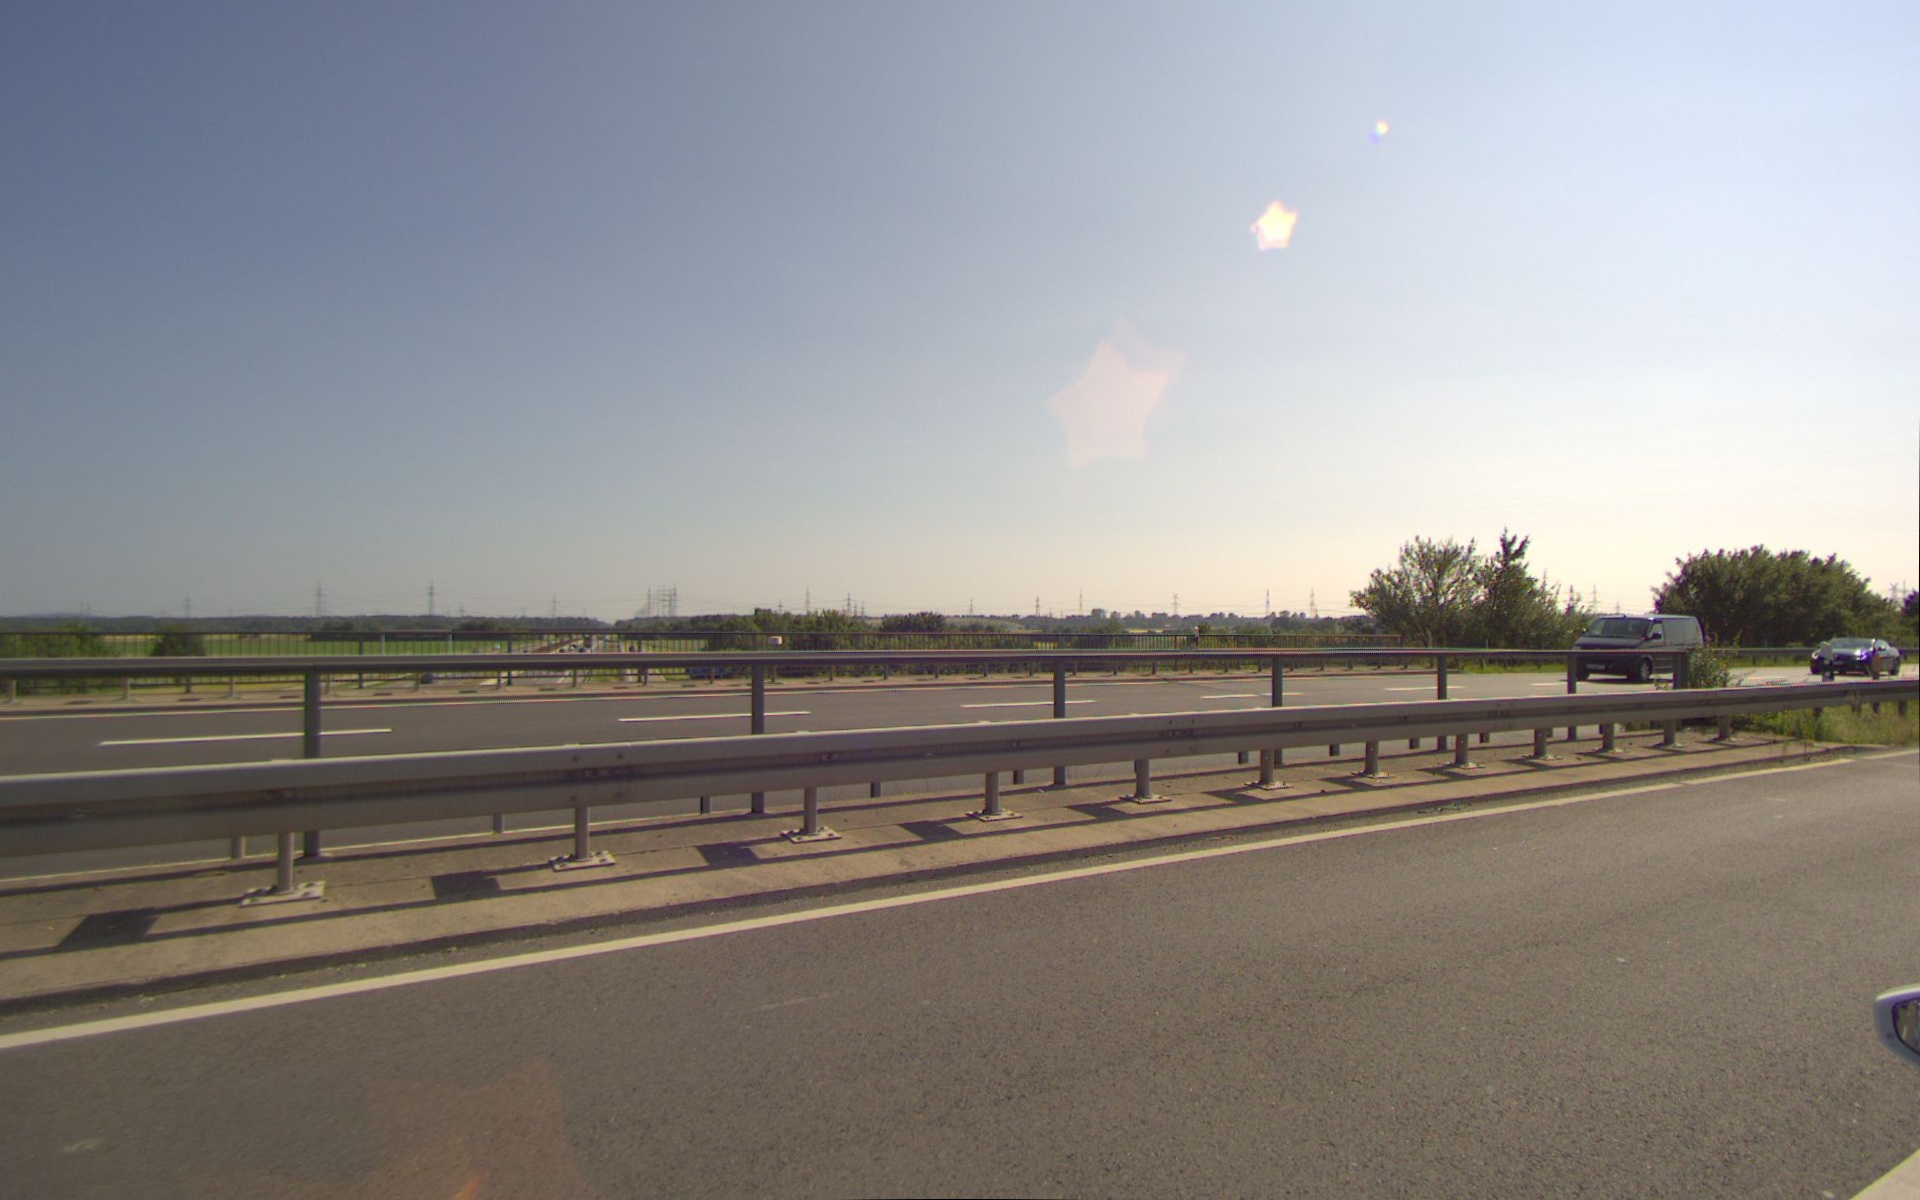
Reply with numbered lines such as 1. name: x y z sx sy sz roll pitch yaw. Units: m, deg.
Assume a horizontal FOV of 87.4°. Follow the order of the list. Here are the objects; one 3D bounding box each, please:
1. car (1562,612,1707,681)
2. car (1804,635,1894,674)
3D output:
1. car: 20.229 1.340 30.081 4.367 1.931 1.983 1 -1 -31
2. car: 32.955 1.991 37.218 3.674 1.287 1.557 1 0 -32
